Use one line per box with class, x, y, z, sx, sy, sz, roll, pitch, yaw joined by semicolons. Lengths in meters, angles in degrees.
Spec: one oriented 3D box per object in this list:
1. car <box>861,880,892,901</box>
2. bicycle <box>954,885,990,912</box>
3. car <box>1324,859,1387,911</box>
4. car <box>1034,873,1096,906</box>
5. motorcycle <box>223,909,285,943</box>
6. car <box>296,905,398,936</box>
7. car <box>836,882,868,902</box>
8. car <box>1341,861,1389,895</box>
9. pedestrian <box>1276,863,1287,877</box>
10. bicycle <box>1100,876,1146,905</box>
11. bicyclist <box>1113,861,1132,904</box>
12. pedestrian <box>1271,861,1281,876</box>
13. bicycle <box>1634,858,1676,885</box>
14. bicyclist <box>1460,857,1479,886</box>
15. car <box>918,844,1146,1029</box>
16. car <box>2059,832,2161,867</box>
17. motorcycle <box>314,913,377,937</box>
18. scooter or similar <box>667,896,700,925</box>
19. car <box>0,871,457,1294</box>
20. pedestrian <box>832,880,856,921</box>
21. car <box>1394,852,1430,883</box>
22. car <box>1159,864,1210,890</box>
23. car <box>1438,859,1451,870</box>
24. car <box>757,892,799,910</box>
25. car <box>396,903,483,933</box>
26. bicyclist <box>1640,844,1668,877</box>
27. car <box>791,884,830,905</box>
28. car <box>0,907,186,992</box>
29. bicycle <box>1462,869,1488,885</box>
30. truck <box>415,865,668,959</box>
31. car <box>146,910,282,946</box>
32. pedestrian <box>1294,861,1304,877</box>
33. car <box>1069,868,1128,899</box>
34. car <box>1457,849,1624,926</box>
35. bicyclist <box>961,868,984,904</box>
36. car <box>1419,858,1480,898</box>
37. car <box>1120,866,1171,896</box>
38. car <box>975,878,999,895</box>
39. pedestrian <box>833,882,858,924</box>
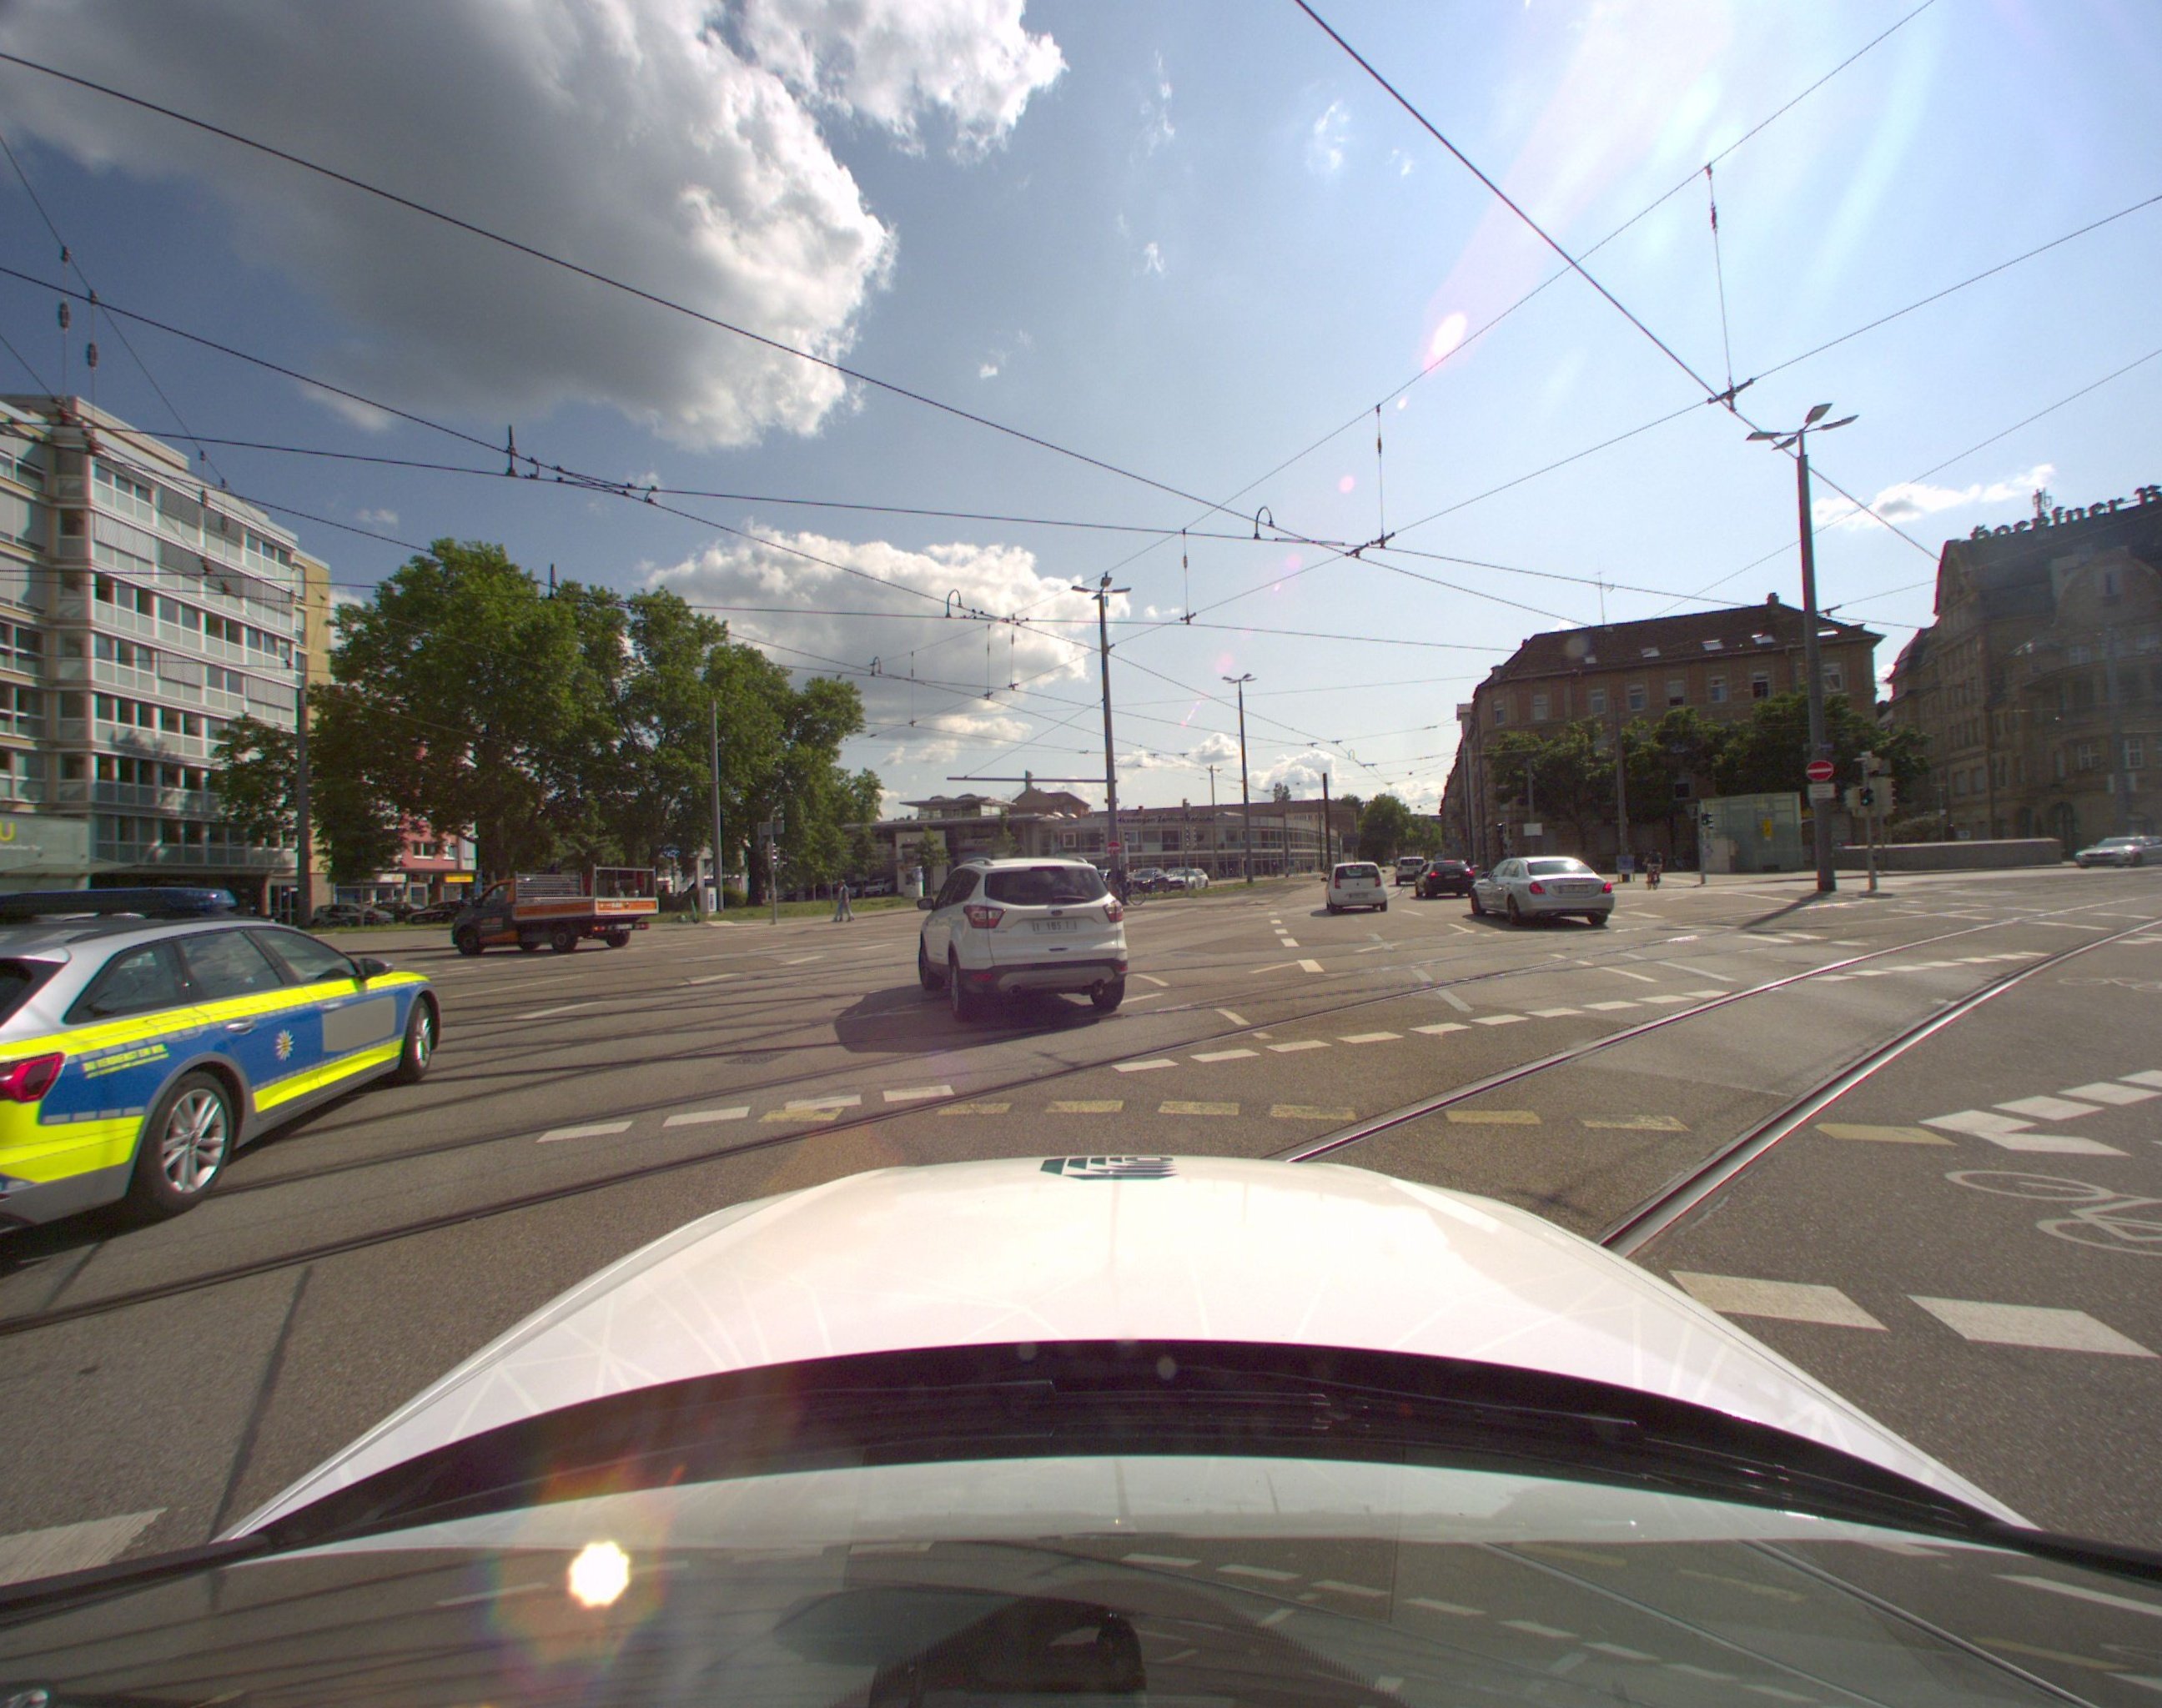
car;-20.943;3.719;83.632;1.987;2.014;4.229;-4;-3;0
bicycle;-5.268;2.160;39.529;0.753;1.192;2.160;-4;-2;19
car;8.560;0.927;25.339;1.635;1.422;4.020;-3;-1;19
car;-0.711;1.650;38.454;1.723;1.373;3.658;-4;-2;18
motorcycle;-33.125;2.896;32.619;2.192;1.238;0.910;-3;-1;21
car;-42.280;3.807;46.998;3.989;1.495;1.796;-2;-2;-11
car;-23.560;3.932;84.049;1.961;1.937;4.229;-4;-3;0
car;12.999;1.069;37.171;1.833;1.419;3.698;-2;-2;22
pedestrian;23.745;1.895;96.499;0.866;1.737;0.882;-2;-3;40
bicycle;1.748;1.530;33.841;1.767;1.125;0.642;-2;-1;11
bicyclist;1.730;1.183;33.866;0.655;1.738;0.642;-2;-1;11
pedestrian;22.659;1.735;94.630;0.866;1.737;0.882;-2;-3;40
bicycle;22.126;0.647;31.447;0.839;0.970;1.971;-4;-2;22
bicyclist;19.924;0.921;41.780;0.605;1.451;0.775;-3;-2;5
car;-0.818;0.854;9.804;1.831;1.664;3.932;-2;-2;-17
car;49.101;-0.240;38.399;4.531;1.430;2.036;-2;-3;-15
motorcycle;-33.882;3.247;37.518;0.801;0.917;2.057;-3;-1;41
scooter or similar;-16.762;2.384;34.369;1.168;1.194;0.399;-1;-2;-1
car;-5.659;0.966;4.850;1.888;1.568;4.580;-2;-2;-22
pedestrian;-10.181;1.985;35.002;0.928;1.744;0.584;0;-2;-24
car;19.444;0.820;47.952;1.821;1.652;4.020;-2;-2;20
car;6.624;1.447;51.873;1.882;1.462;3.992;-4;-2;26
car;55.291;1.596;123.885;1.820;1.652;4.022;-2;-2;24
car;-34.500;5.348;92.753;3.960;1.790;1.848;-4;-3;12
car;-34.691;3.437;44.189;1.904;1.413;3.988;-3;-3;-8
bicyclist;22.074;0.259;31.388;0.629;1.220;0.929;-4;-2;24
car;-28.144;4.182;84.966;1.959;1.937;5.072;-4;-3;4
car;-21.015;1.950;16.725;3.958;1.475;1.861;-3;-1;14
bicycle;20.182;1.187;41.748;0.582;0.776;1.622;-3;-2;2
truck;-14.225;1.519;21.523;5.787;2.155;2.357;-3;-2;17
car;-39.654;3.352;37.338;3.990;1.398;1.665;-2;-3;-12
pedestrian;26.486;1.851;98.988;0.866;1.922;0.882;-2;-3;37
car;1.050;1.671;46.579;1.721;1.573;4.024;-4;-2;27
car;10.095;0.695;18.364;1.917;1.455;4.775;-3;-1;12
bicyclist;-5.279;1.563;39.633;0.753;1.683;0.764;-4;-2;18
car;14.058;0.892;31.278;1.685;1.372;4.152;-3;-2;19
car;3.658;1.488;45.767;1.674;1.461;3.990;-4;-2;22
car;-9.373;3.241;81.247;1.812;1.534;3.915;-4;-3;0
pedestrian;-9.819;2.033;33.933;0.928;1.744;0.584;0;-2;-23
